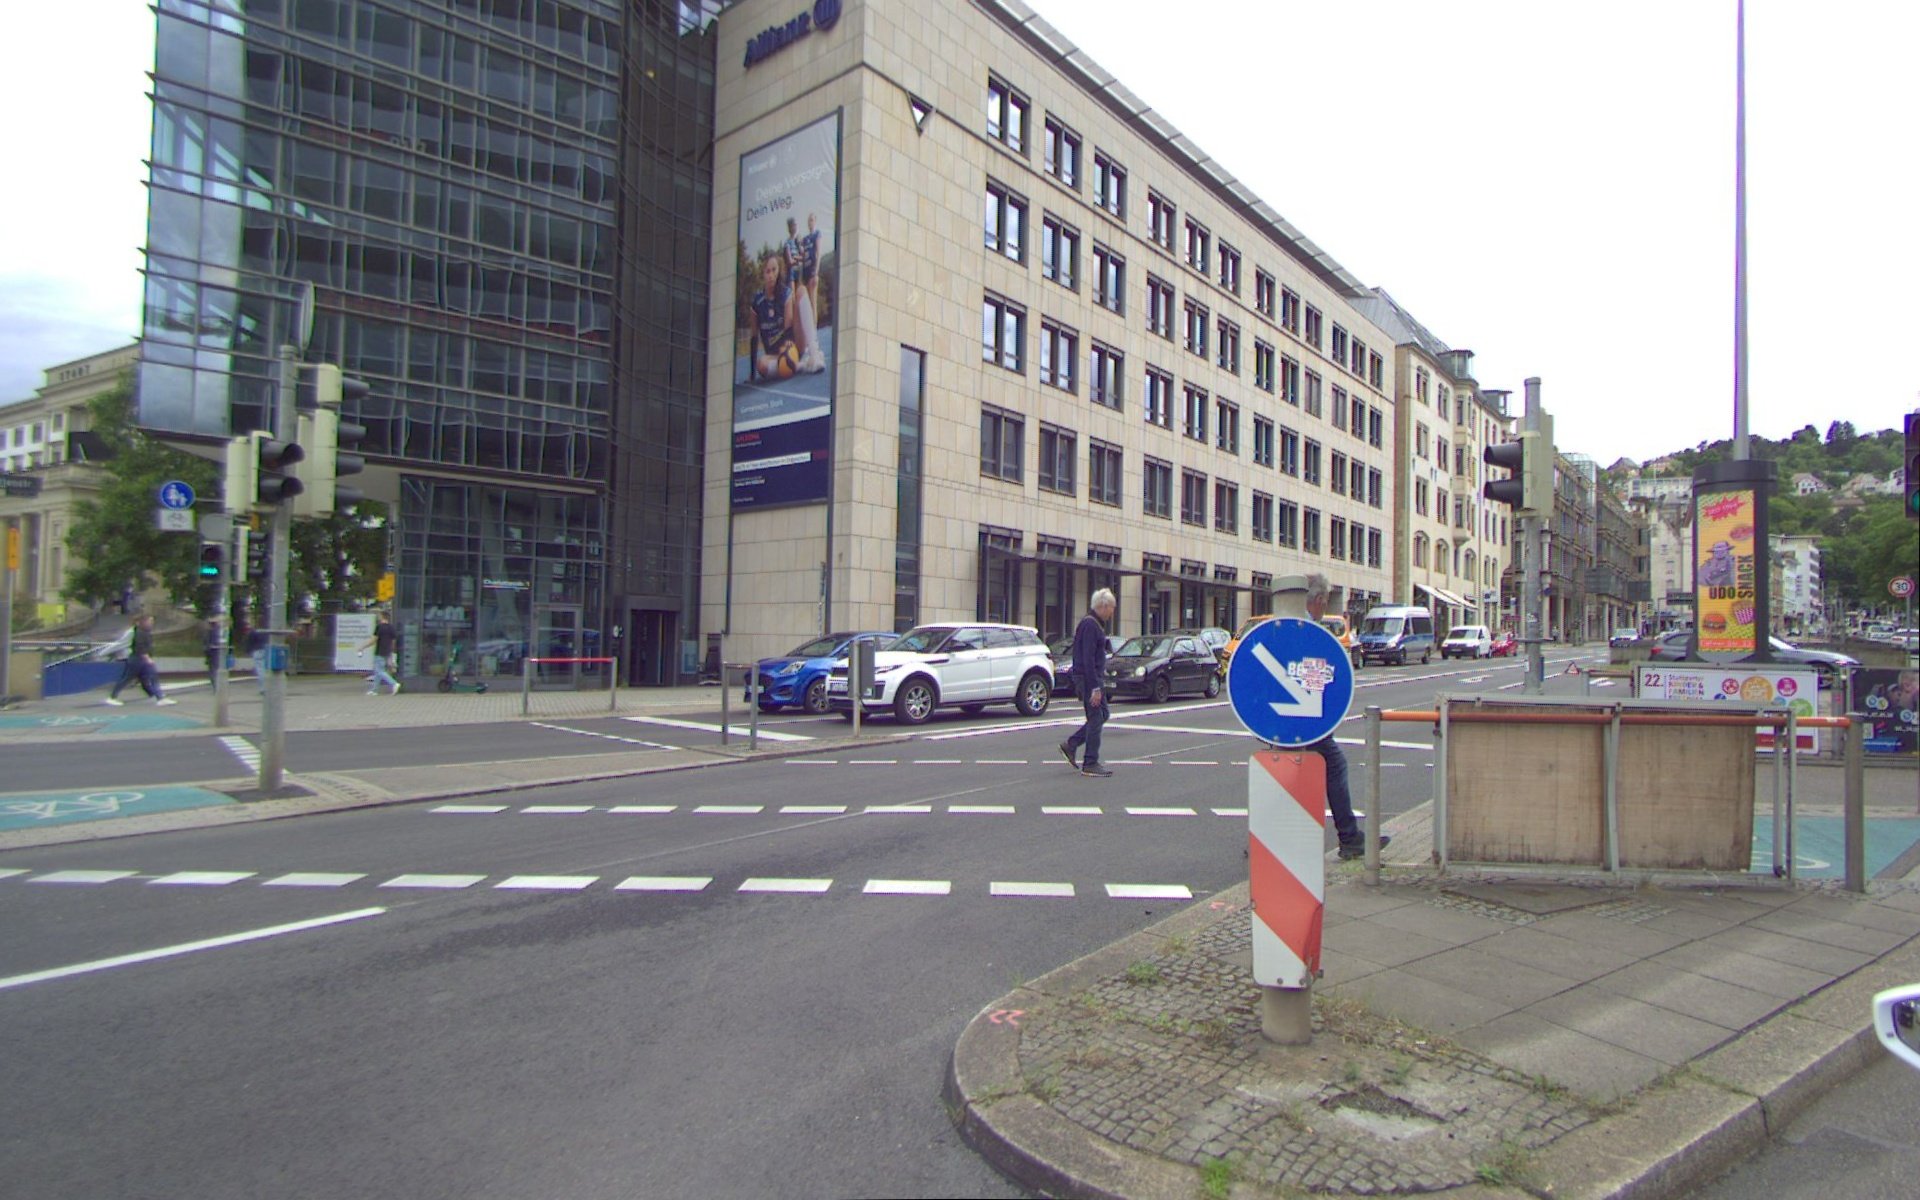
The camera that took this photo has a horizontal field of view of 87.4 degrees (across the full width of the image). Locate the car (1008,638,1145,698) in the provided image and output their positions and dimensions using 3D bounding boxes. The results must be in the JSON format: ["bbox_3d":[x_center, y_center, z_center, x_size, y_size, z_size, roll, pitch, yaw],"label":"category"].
[{"bbox_3d":[2.900,1.614,24.557,1.539,1.359,3.614,-3,-3,41],"label":"car"}]

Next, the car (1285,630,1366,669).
[{"bbox_3d":[14.483,1.962,39.688,1.748,1.467,4.011,-3,-4,40],"label":"car"}]

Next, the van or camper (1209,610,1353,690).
[{"bbox_3d":[8.682,1.317,26.864,1.891,1.947,5.060,-3,-3,40],"label":"van or camper"}]

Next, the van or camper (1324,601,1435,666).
[{"bbox_3d":[19.134,1.504,45.614,2.967,2.762,6.216,-1,-2,40],"label":"van or camper"}]

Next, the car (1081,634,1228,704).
[{"bbox_3d":[4.322,1.456,21.977,1.539,1.397,3.614,-3,-3,41],"label":"car"}]

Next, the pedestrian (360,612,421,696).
[{"bbox_3d":[-12.688,1.200,22.387,0.914,1.834,0.697,0,-2,16],"label":"pedestrian"}]

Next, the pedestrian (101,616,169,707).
[{"bbox_3d":[-15.641,1.163,19.066,0.777,1.652,0.601,4,-2,-27],"label":"pedestrian"}]

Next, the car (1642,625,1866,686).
[{"bbox_3d":[21.342,1.438,27.164,1.867,1.478,4.511,2,-2,-41],"label":"car"}]

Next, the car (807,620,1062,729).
[{"bbox_3d":[-0.326,1.187,17.061,4.288,1.619,1.718,2,-3,-43],"label":"car"}]

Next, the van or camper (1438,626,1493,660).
[{"bbox_3d":[27.941,2.339,55.425,1.845,1.775,4.467,0,-2,39],"label":"van or camper"}]

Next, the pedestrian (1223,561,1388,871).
[{"bbox_3d":[2.192,0.704,6.373,0.707,1.813,0.631,-5,-3,40],"label":"pedestrian"}]

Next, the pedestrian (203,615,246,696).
[{"bbox_3d":[-16.055,1.201,21.920,0.759,1.723,0.628,-1,-2,45],"label":"pedestrian"}]

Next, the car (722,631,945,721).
[{"bbox_3d":[-2.381,1.395,19.654,1.971,1.545,4.070,-1,-2,42],"label":"car"}]

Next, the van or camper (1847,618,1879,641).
[{"bbox_3d":[128.241,4.161,142.688,2.592,3.220,5.786,0,-2,34],"label":"van or camper"}]

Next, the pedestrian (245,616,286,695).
[{"bbox_3d":[-15.562,1.228,22.505,0.635,1.723,0.628,-1,-2,45],"label":"pedestrian"}]

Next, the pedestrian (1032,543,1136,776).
[{"bbox_3d":[1.245,0.578,10.009,0.862,2.201,0.763,0,-2,22],"label":"pedestrian"}]

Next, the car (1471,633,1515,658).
[{"bbox_3d":[32.114,2.700,60.481,1.765,1.424,3.568,-1,-2,39],"label":"car"}]

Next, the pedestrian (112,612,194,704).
[{"bbox_3d":[-14.899,1.078,18.576,0.953,1.634,0.650,4,-3,-27],"label":"pedestrian"}]

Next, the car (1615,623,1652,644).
[{"bbox_3d":[53.024,2.640,79.051,1.896,1.547,4.520,-1,-2,40],"label":"car"}]

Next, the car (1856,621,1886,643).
[{"bbox_3d":[81.442,2.876,89.823,1.811,1.899,4.845,-2,-3,41],"label":"car"}]

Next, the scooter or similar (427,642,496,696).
[{"bbox_3d":[-11.598,1.586,23.380,1.358,1.224,0.534,0,-1,10],"label":"scooter or similar"}]

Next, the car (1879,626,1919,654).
[{"bbox_3d":[54.256,2.309,57.803,1.811,1.587,3.749,-2,-3,40],"label":"car"}]
